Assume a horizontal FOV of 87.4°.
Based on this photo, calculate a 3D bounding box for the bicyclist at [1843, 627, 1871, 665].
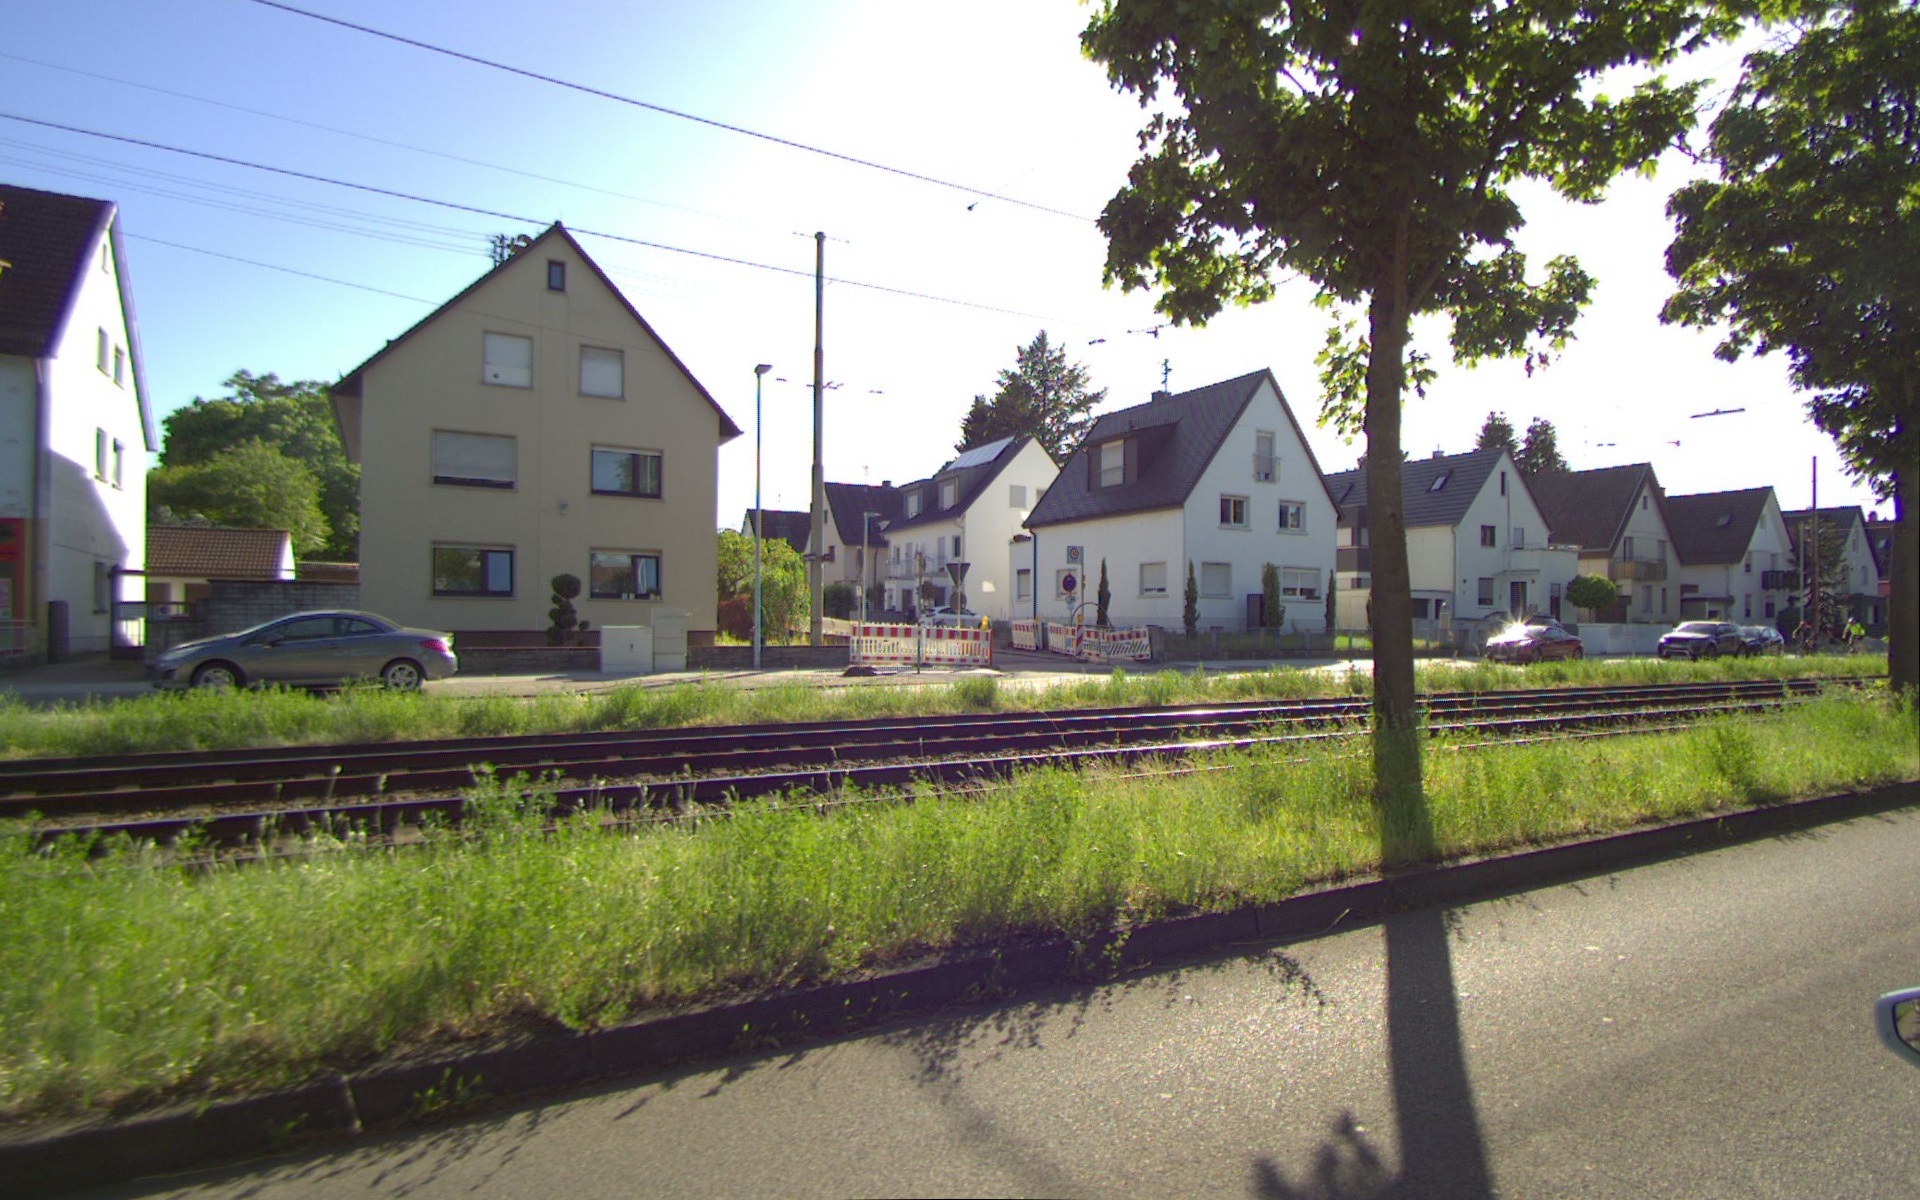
[{"bbox_3d":[40.551,2.059,45.405,0.871,1.674,0.685,1,-1,-30],"label":"bicyclist"}]

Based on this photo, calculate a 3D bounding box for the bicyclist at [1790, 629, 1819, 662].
[{"bbox_3d":[35.848,1.917,42.636,0.871,1.354,0.685,1,-1,-30],"label":"bicyclist"}]

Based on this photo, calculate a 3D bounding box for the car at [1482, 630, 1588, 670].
[{"bbox_3d":[20.897,1.809,36.473,3.951,1.344,1.487,2,0,-29],"label":"car"}]

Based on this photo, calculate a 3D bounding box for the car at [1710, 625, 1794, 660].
[{"bbox_3d":[35.208,1.889,44.651,3.942,1.470,1.606,2,0,-30],"label":"car"}]

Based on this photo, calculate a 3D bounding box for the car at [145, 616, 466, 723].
[{"bbox_3d":[-11.110,1.116,17.463,4.444,1.603,1.984,1,0,-30],"label":"car"}]

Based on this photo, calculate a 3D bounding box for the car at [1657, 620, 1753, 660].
[{"bbox_3d":[31.563,1.706,42.540,4.332,1.589,1.637,2,0,-29],"label":"car"}]

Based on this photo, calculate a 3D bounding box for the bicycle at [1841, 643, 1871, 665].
[{"bbox_3d":[40.292,2.414,45.170,2.071,0.940,0.396,1,-1,-30],"label":"bicycle"}]

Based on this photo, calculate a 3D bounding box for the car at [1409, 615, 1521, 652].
[{"bbox_3d":[22.955,1.507,45.787,1.917,1.483,4.188,2,0,-33],"label":"car"}]

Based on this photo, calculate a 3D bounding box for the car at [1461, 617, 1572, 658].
[{"bbox_3d":[25.278,1.671,45.746,1.979,1.692,3.963,2,0,-33],"label":"car"}]

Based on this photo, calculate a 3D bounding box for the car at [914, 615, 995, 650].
[{"bbox_3d":[-0.281,1.749,54.192,3.942,1.799,1.990,1,-1,-22],"label":"car"}]

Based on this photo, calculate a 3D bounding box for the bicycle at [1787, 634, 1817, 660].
[{"bbox_3d":[35.662,1.974,42.534,1.857,1.084,0.396,1,-1,-30],"label":"bicycle"}]
